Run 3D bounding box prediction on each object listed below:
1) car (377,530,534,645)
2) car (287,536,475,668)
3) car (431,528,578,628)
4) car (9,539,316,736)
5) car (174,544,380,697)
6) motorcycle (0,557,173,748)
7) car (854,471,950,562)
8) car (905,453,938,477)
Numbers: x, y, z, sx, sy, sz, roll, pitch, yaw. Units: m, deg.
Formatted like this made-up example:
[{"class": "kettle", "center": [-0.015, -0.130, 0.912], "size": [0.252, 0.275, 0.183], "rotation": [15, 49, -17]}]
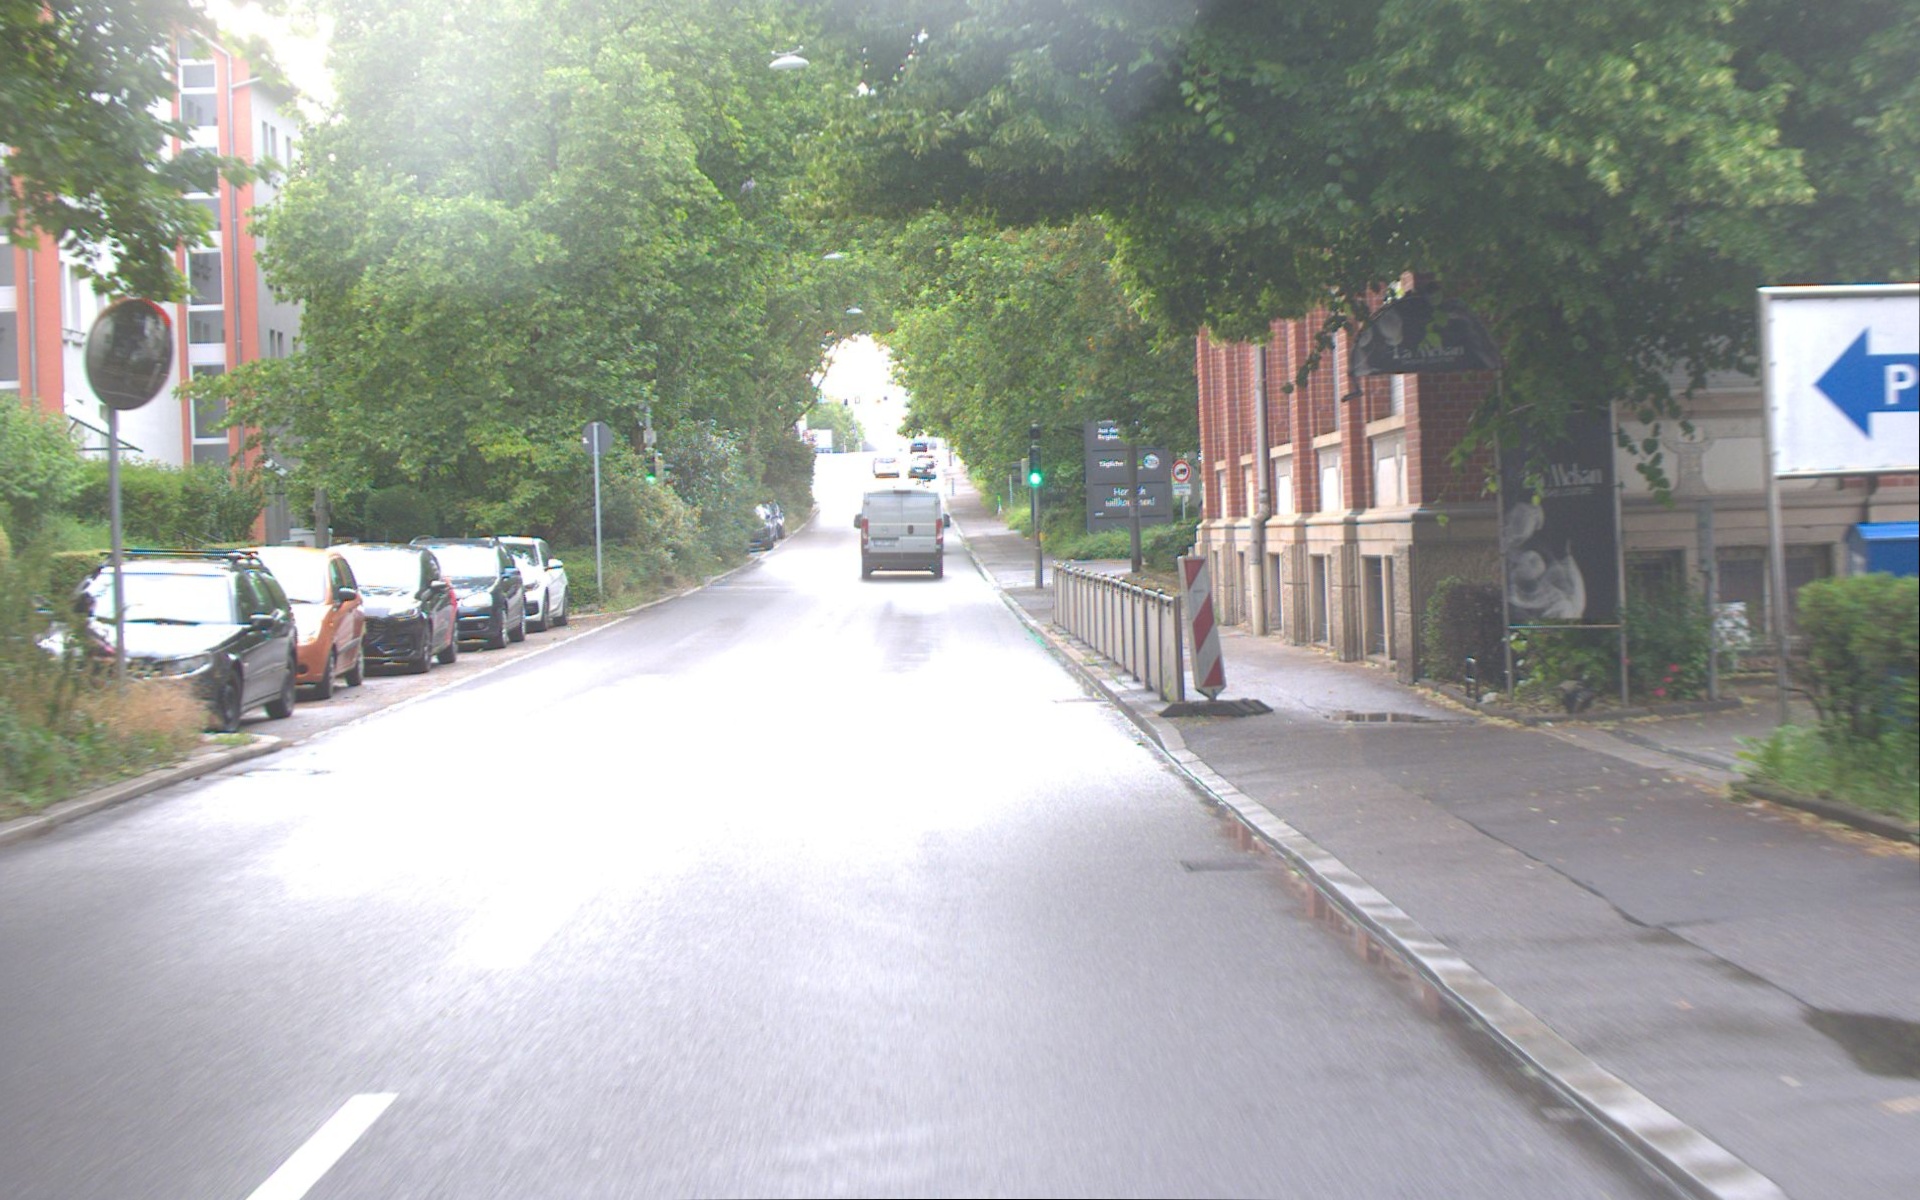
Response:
[{"class": "car", "center": [-6.865, -0.206, 47.123], "size": [1.716, 1.462, 4.234], "rotation": [-1, 1, -3]}, {"class": "car", "center": [-6.847, -0.013, 40.966], "size": [1.716, 1.462, 3.756], "rotation": [-1, 1, -2]}, {"class": "car", "center": [-7.096, -0.377, 53.938], "size": [1.717, 1.462, 4.310], "rotation": [-1, 1, 0]}, {"class": "car", "center": [-6.789, 0.258, 29.747], "size": [1.716, 1.504, 4.805], "rotation": [-1, 1, -3]}, {"class": "car", "center": [-7.020, 0.177, 35.612], "size": [1.555, 1.462, 3.397], "rotation": [-1, 1, -2]}, {"class": "motorcycle", "center": [-6.769, 0.388, 25.365], "size": [1.712, 1.335, 0.722], "rotation": [-2, 1, 0]}, {"class": "car", "center": [-1.425, -2.065, 86.124], "size": [2.336, 2.223, 4.000], "rotation": [0, 1, 0]}, {"class": "car", "center": [-2.855, -10.004, 255.156], "size": [2.149, 1.703, 3.873], "rotation": [0, 1, 3]}]
